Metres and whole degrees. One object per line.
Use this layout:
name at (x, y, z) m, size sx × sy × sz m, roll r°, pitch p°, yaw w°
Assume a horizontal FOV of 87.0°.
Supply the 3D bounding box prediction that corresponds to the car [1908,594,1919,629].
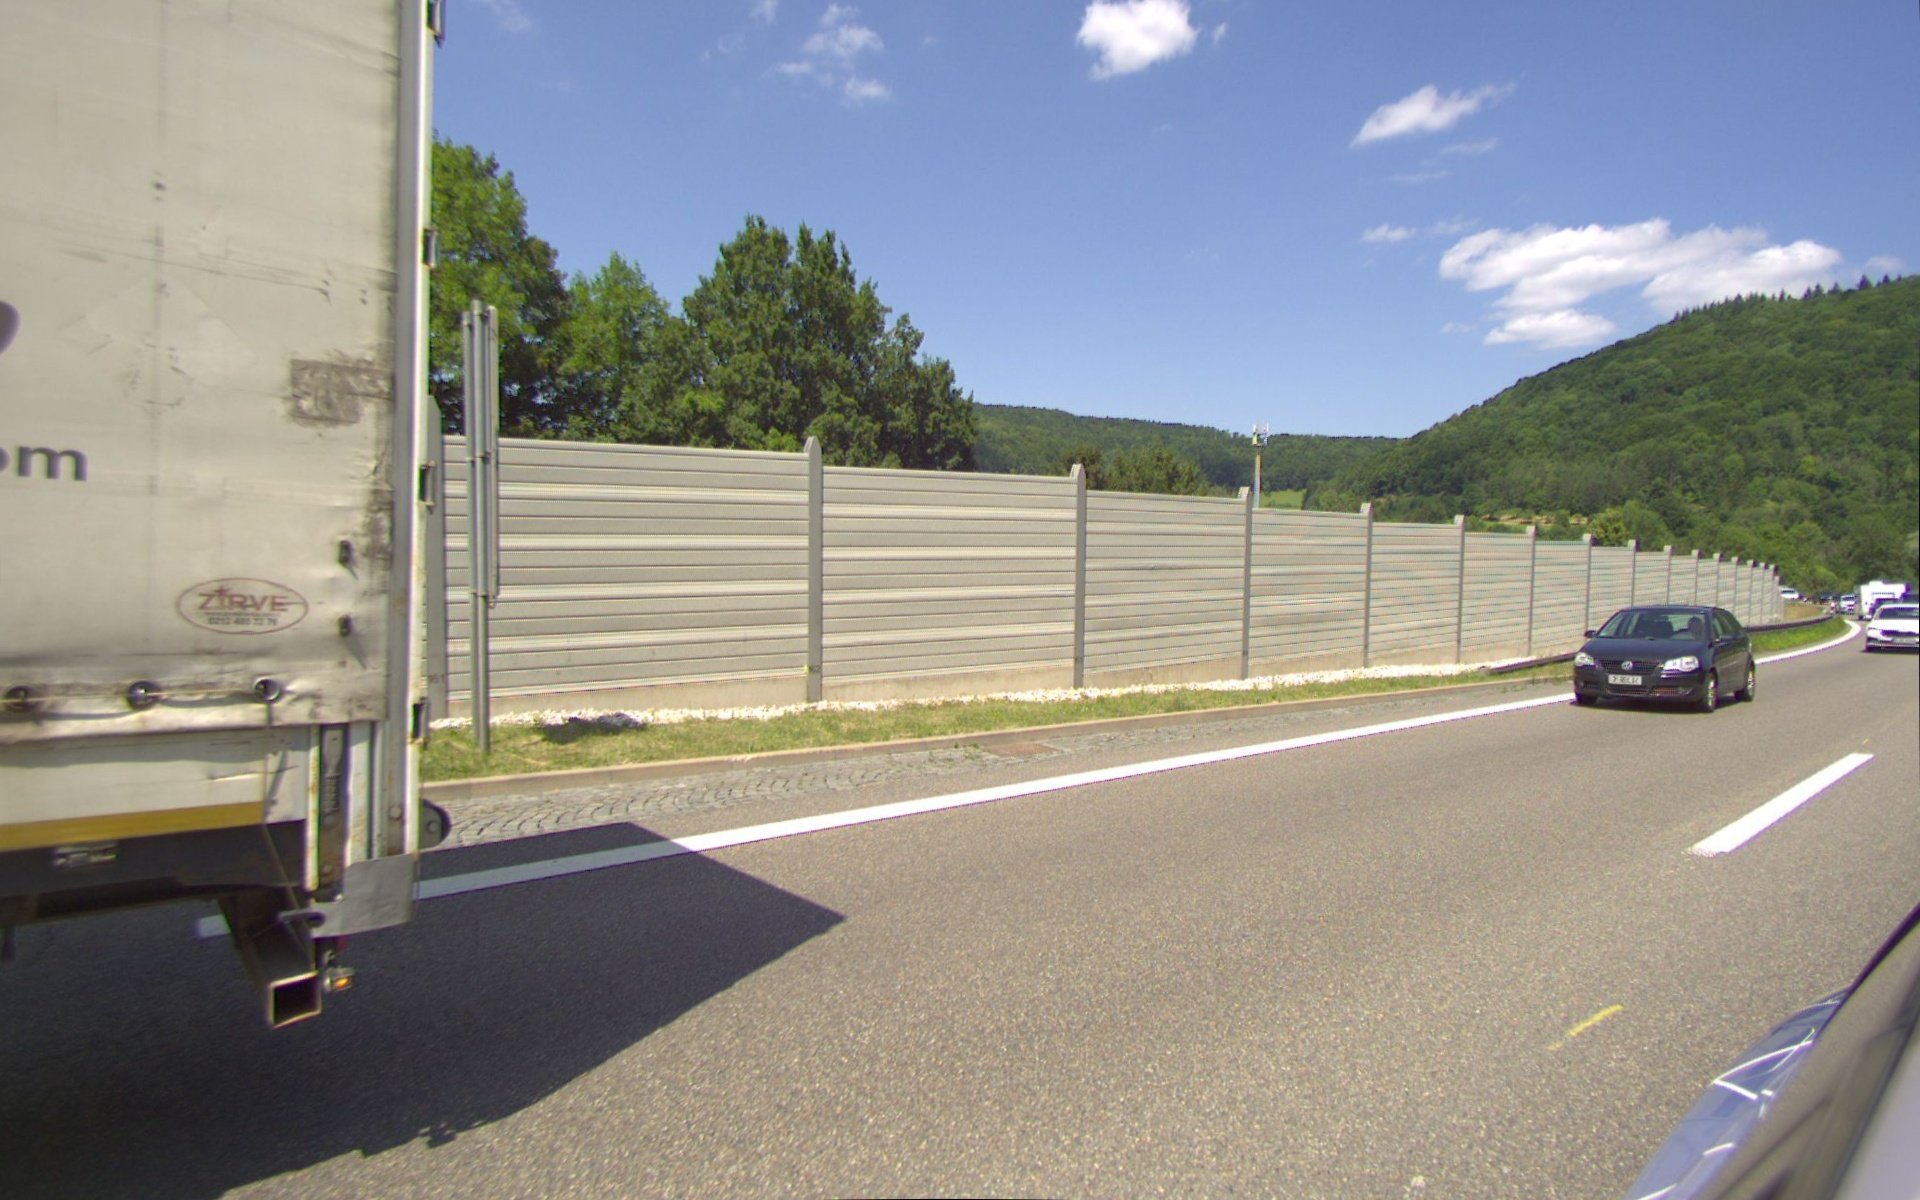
car at (40.465, 0.500, 41.814) m, size 3.673 × 1.400 × 1.488 m, roll 0°, pitch 2°, yaw -41°

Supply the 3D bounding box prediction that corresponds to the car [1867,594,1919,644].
car at (28.697, 0.547, 30.338) m, size 3.659 × 1.448 × 1.904 m, roll 0°, pitch -1°, yaw -43°

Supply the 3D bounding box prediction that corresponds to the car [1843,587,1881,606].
car at (78.608, -0.304, 88.210) m, size 1.685 × 1.552 × 3.641 m, roll -3°, pitch -1°, yaw 30°

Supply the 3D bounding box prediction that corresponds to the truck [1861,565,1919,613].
truck at (65.501, -0.772, 71.271) m, size 2.591 × 3.147 × 6.762 m, roll -3°, pitch -2°, yaw 39°

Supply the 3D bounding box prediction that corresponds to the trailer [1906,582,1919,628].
trailer at (43.037, 0.180, 44.503) m, size 1.992 × 1.994 × 3.939 m, roll -1°, pitch 0°, yaw 42°

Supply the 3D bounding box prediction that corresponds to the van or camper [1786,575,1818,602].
van or camper at (100.959, -1.369, 121.348) m, size 1.892 × 3.066 × 4.829 m, roll 0°, pitch 0°, yaw 27°

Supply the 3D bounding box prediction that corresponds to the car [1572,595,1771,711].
car at (10.542, 0.670, 14.898) m, size 3.775 × 1.440 × 1.693 m, roll 0°, pitch 1°, yaw -44°
